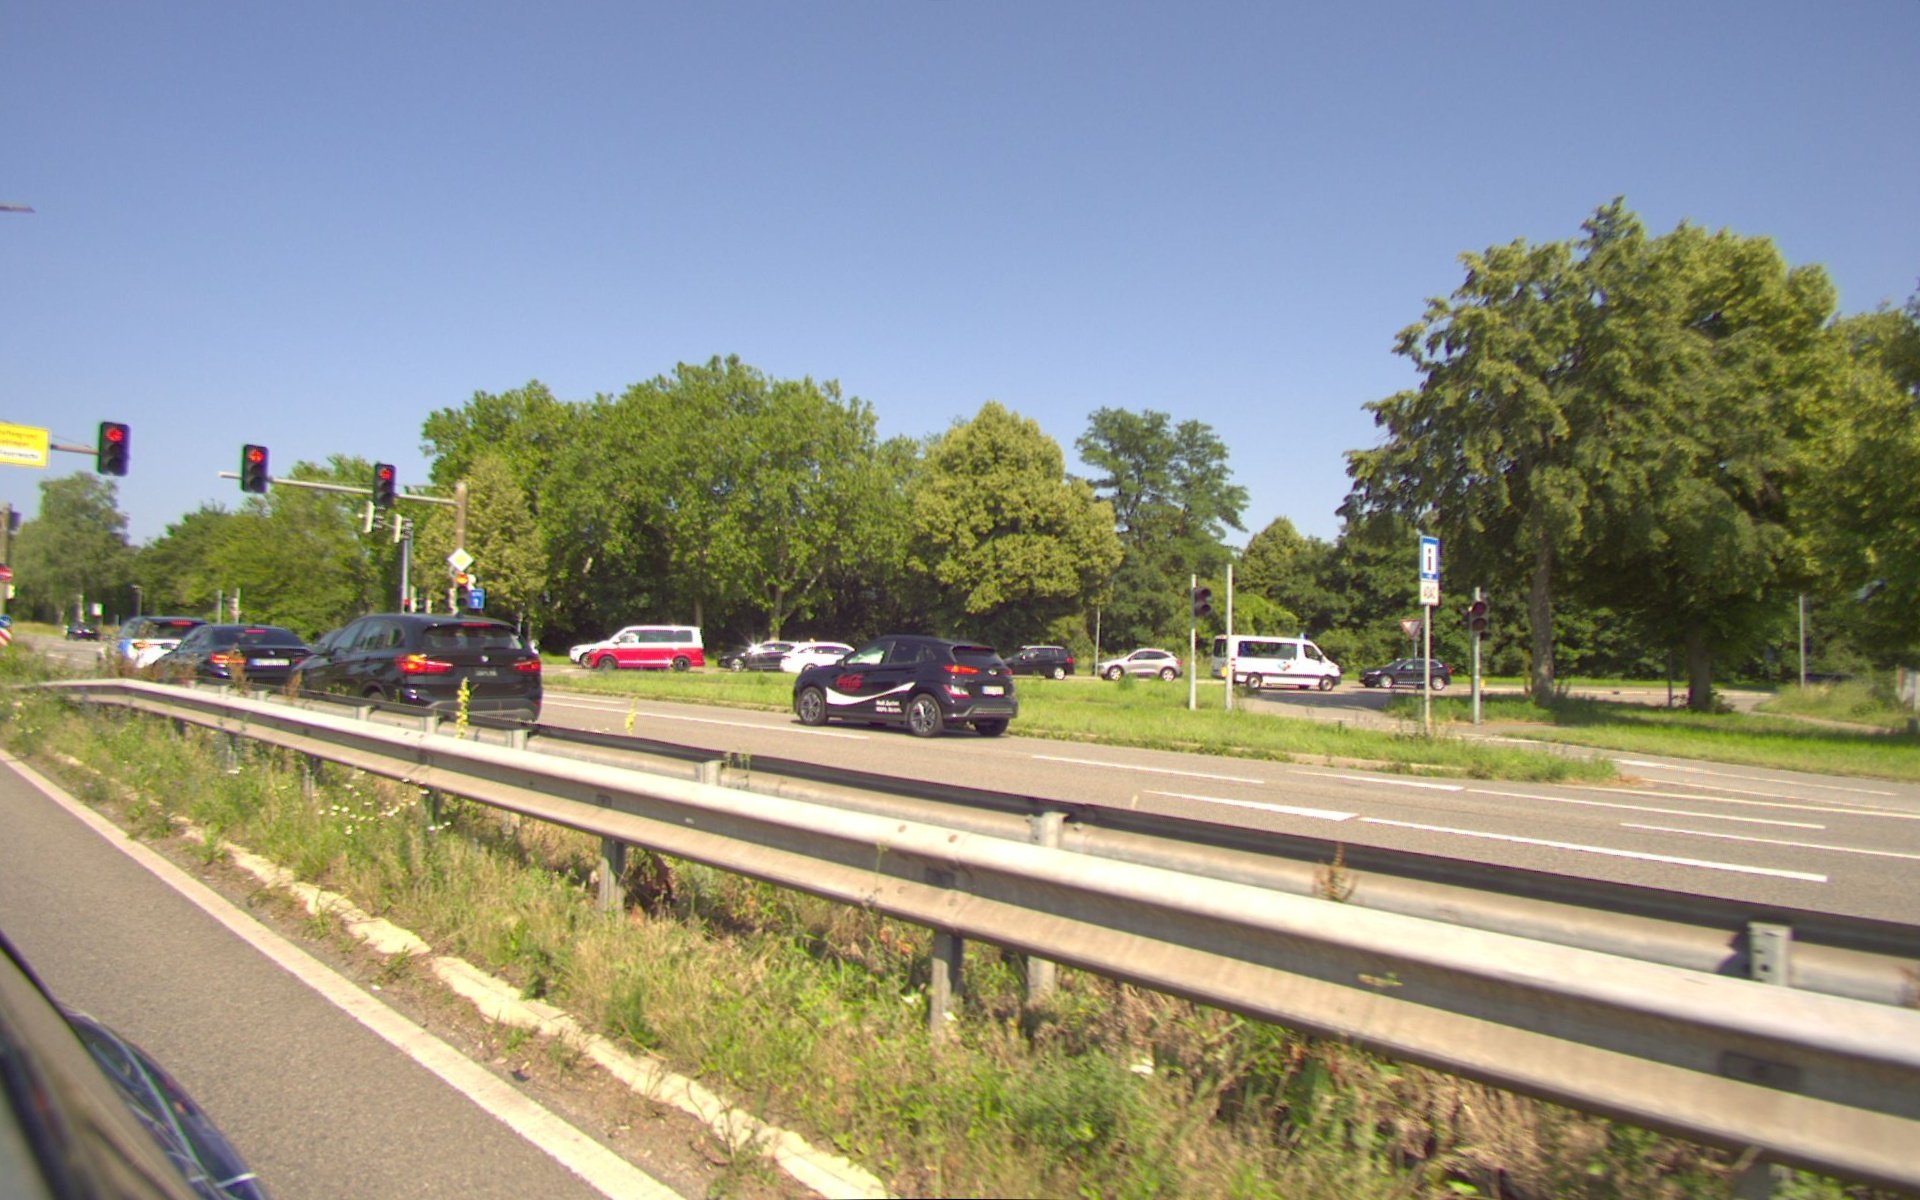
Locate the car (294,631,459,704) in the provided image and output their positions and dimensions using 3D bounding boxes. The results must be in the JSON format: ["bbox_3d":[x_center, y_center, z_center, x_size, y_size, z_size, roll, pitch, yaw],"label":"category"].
[{"bbox_3d":[-13.028,1.458,22.491,4.266,1.448,1.909,-1,-4,42],"label":"car"}]

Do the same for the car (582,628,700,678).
[{"bbox_3d":[-13.405,2.235,42.811,4.577,1.965,2.005,2,-2,-14],"label":"car"}]

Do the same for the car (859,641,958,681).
[{"bbox_3d":[-2.493,2.930,48.634,4.432,1.814,2.010,2,-3,-13],"label":"car"}]

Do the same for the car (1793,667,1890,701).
[{"bbox_3d":[46.130,4.384,53.005,3.933,1.661,1.919,1,-1,-14],"label":"car"}]

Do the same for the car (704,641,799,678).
[{"bbox_3d":[-9.724,2.767,47.164,4.197,1.618,2.010,2,-3,-13],"label":"car"}]

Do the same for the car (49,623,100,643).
[{"bbox_3d":[-71.970,2.673,82.230,4.272,1.506,1.977,1,-2,33],"label":"car"}]

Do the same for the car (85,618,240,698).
[{"bbox_3d":[-17.948,1.258,22.712,4.210,1.622,1.989,-2,-4,42],"label":"car"}]

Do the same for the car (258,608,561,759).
[{"bbox_3d":[-7.197,0.962,13.018,4.614,1.606,1.828,-1,-4,40],"label":"car"}]

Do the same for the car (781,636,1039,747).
[{"bbox_3d":[-0.897,1.443,16.627,4.085,1.566,1.827,-1,-6,41],"label":"car"}]

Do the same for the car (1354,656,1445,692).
[{"bbox_3d":[23.221,3.906,53.509,4.034,1.763,1.780,1,-1,-7],"label":"car"}]

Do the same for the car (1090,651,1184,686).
[{"bbox_3d":[8.836,3.399,50.710,4.201,1.618,2.008,2,-3,-6],"label":"car"}]

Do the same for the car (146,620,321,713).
[{"bbox_3d":[-13.469,1.190,18.638,1.796,1.496,4.896,6,-5,-44],"label":"car"}]

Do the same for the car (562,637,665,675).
[{"bbox_3d":[-15.583,2.524,45.761,4.197,1.618,2.010,2,-3,-13],"label":"car"}]

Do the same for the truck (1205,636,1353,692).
[{"bbox_3d":[14.272,2.856,45.423,5.939,2.407,2.387,1,-3,-13],"label":"truck"}]

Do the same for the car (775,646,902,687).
[{"bbox_3d":[-4.971,2.683,41.140,4.888,1.475,1.823,2,-3,-13],"label":"car"}]

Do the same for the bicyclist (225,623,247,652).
[{"bbox_3d":[-39.110,2.025,54.660,0.836,1.529,0.748,2,-3,-44],"label":"bicyclist"}]
